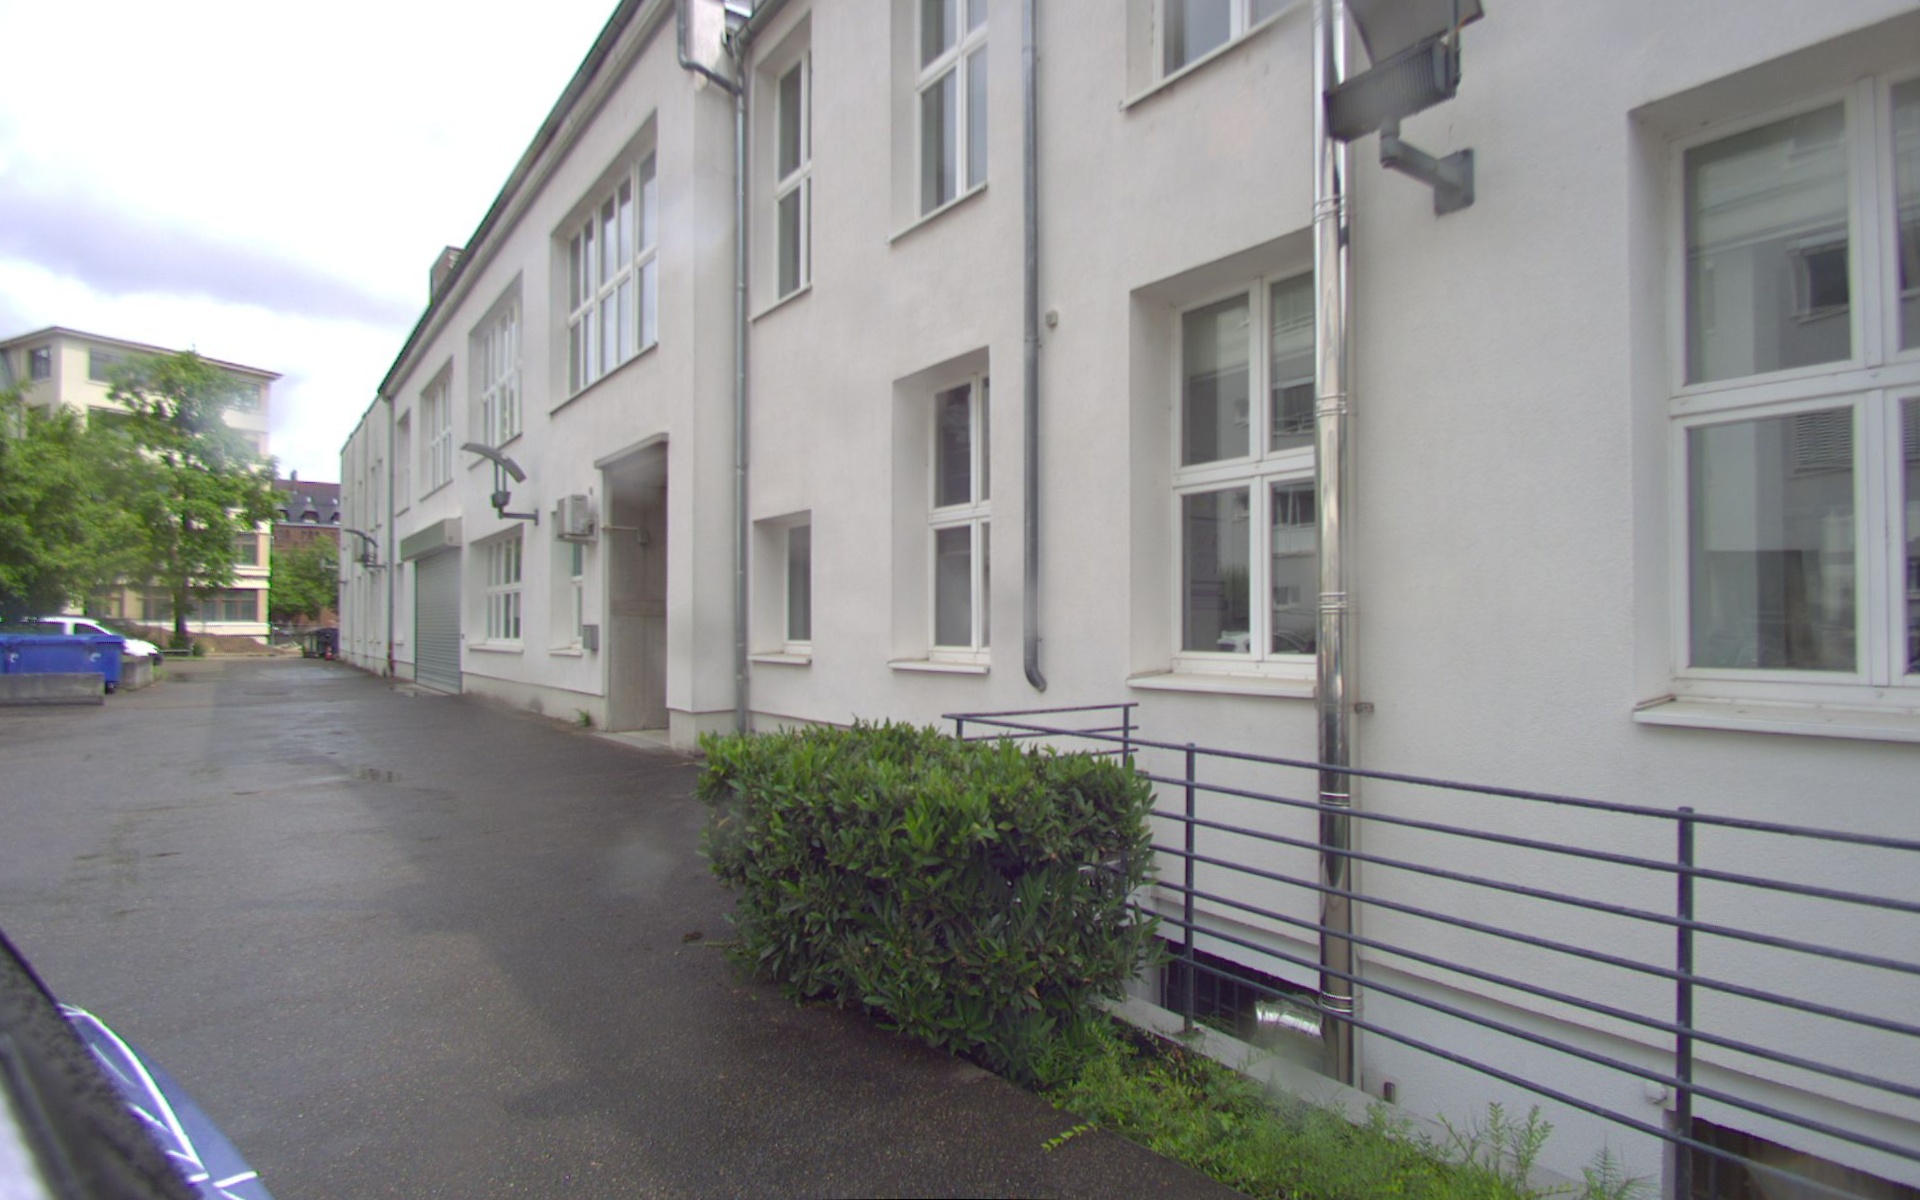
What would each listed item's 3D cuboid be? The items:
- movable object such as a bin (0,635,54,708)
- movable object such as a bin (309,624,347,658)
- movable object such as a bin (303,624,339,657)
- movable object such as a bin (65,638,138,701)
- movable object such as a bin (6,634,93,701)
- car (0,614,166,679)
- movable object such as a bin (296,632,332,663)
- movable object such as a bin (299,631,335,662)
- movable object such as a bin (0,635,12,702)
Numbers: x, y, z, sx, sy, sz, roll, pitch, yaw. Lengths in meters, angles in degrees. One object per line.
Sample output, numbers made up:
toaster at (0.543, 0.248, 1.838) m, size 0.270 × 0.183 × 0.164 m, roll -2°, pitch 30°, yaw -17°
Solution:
movable object such as a bin at (-20.359, 1.531, 21.710) m, size 1.258 × 1.494 × 1.104 m, roll -1°, pitch -2°, yaw -37°
movable object such as a bin at (-28.965, 1.856, 46.356) m, size 1.342 × 1.482 × 1.368 m, roll -1°, pitch -2°, yaw -37°
movable object such as a bin at (-30.095, 1.930, 47.665) m, size 1.342 × 1.482 × 1.368 m, roll -1°, pitch -2°, yaw -37°
movable object such as a bin at (-19.308, 1.554, 22.791) m, size 1.159 × 1.327 × 1.058 m, roll -1°, pitch -2°, yaw -37°
movable object such as a bin at (-18.767, 1.382, 20.898) m, size 1.213 × 1.327 × 1.058 m, roll 1°, pitch -3°, yaw -37°
car at (-29.958, 1.519, 34.115) m, size 4.869 × 2.029 × 2.005 m, roll 0°, pitch -1°, yaw -33°
movable object such as a bin at (-32.768, 2.390, 51.316) m, size 1.390 × 1.482 × 1.564 m, roll -1°, pitch -2°, yaw -37°
movable object such as a bin at (-31.755, 2.284, 49.975) m, size 1.342 × 1.482 × 1.468 m, roll -1°, pitch -2°, yaw -37°
movable object such as a bin at (-19.805, 1.372, 20.145) m, size 1.213 × 1.327 × 1.058 m, roll 1°, pitch -3°, yaw -37°
